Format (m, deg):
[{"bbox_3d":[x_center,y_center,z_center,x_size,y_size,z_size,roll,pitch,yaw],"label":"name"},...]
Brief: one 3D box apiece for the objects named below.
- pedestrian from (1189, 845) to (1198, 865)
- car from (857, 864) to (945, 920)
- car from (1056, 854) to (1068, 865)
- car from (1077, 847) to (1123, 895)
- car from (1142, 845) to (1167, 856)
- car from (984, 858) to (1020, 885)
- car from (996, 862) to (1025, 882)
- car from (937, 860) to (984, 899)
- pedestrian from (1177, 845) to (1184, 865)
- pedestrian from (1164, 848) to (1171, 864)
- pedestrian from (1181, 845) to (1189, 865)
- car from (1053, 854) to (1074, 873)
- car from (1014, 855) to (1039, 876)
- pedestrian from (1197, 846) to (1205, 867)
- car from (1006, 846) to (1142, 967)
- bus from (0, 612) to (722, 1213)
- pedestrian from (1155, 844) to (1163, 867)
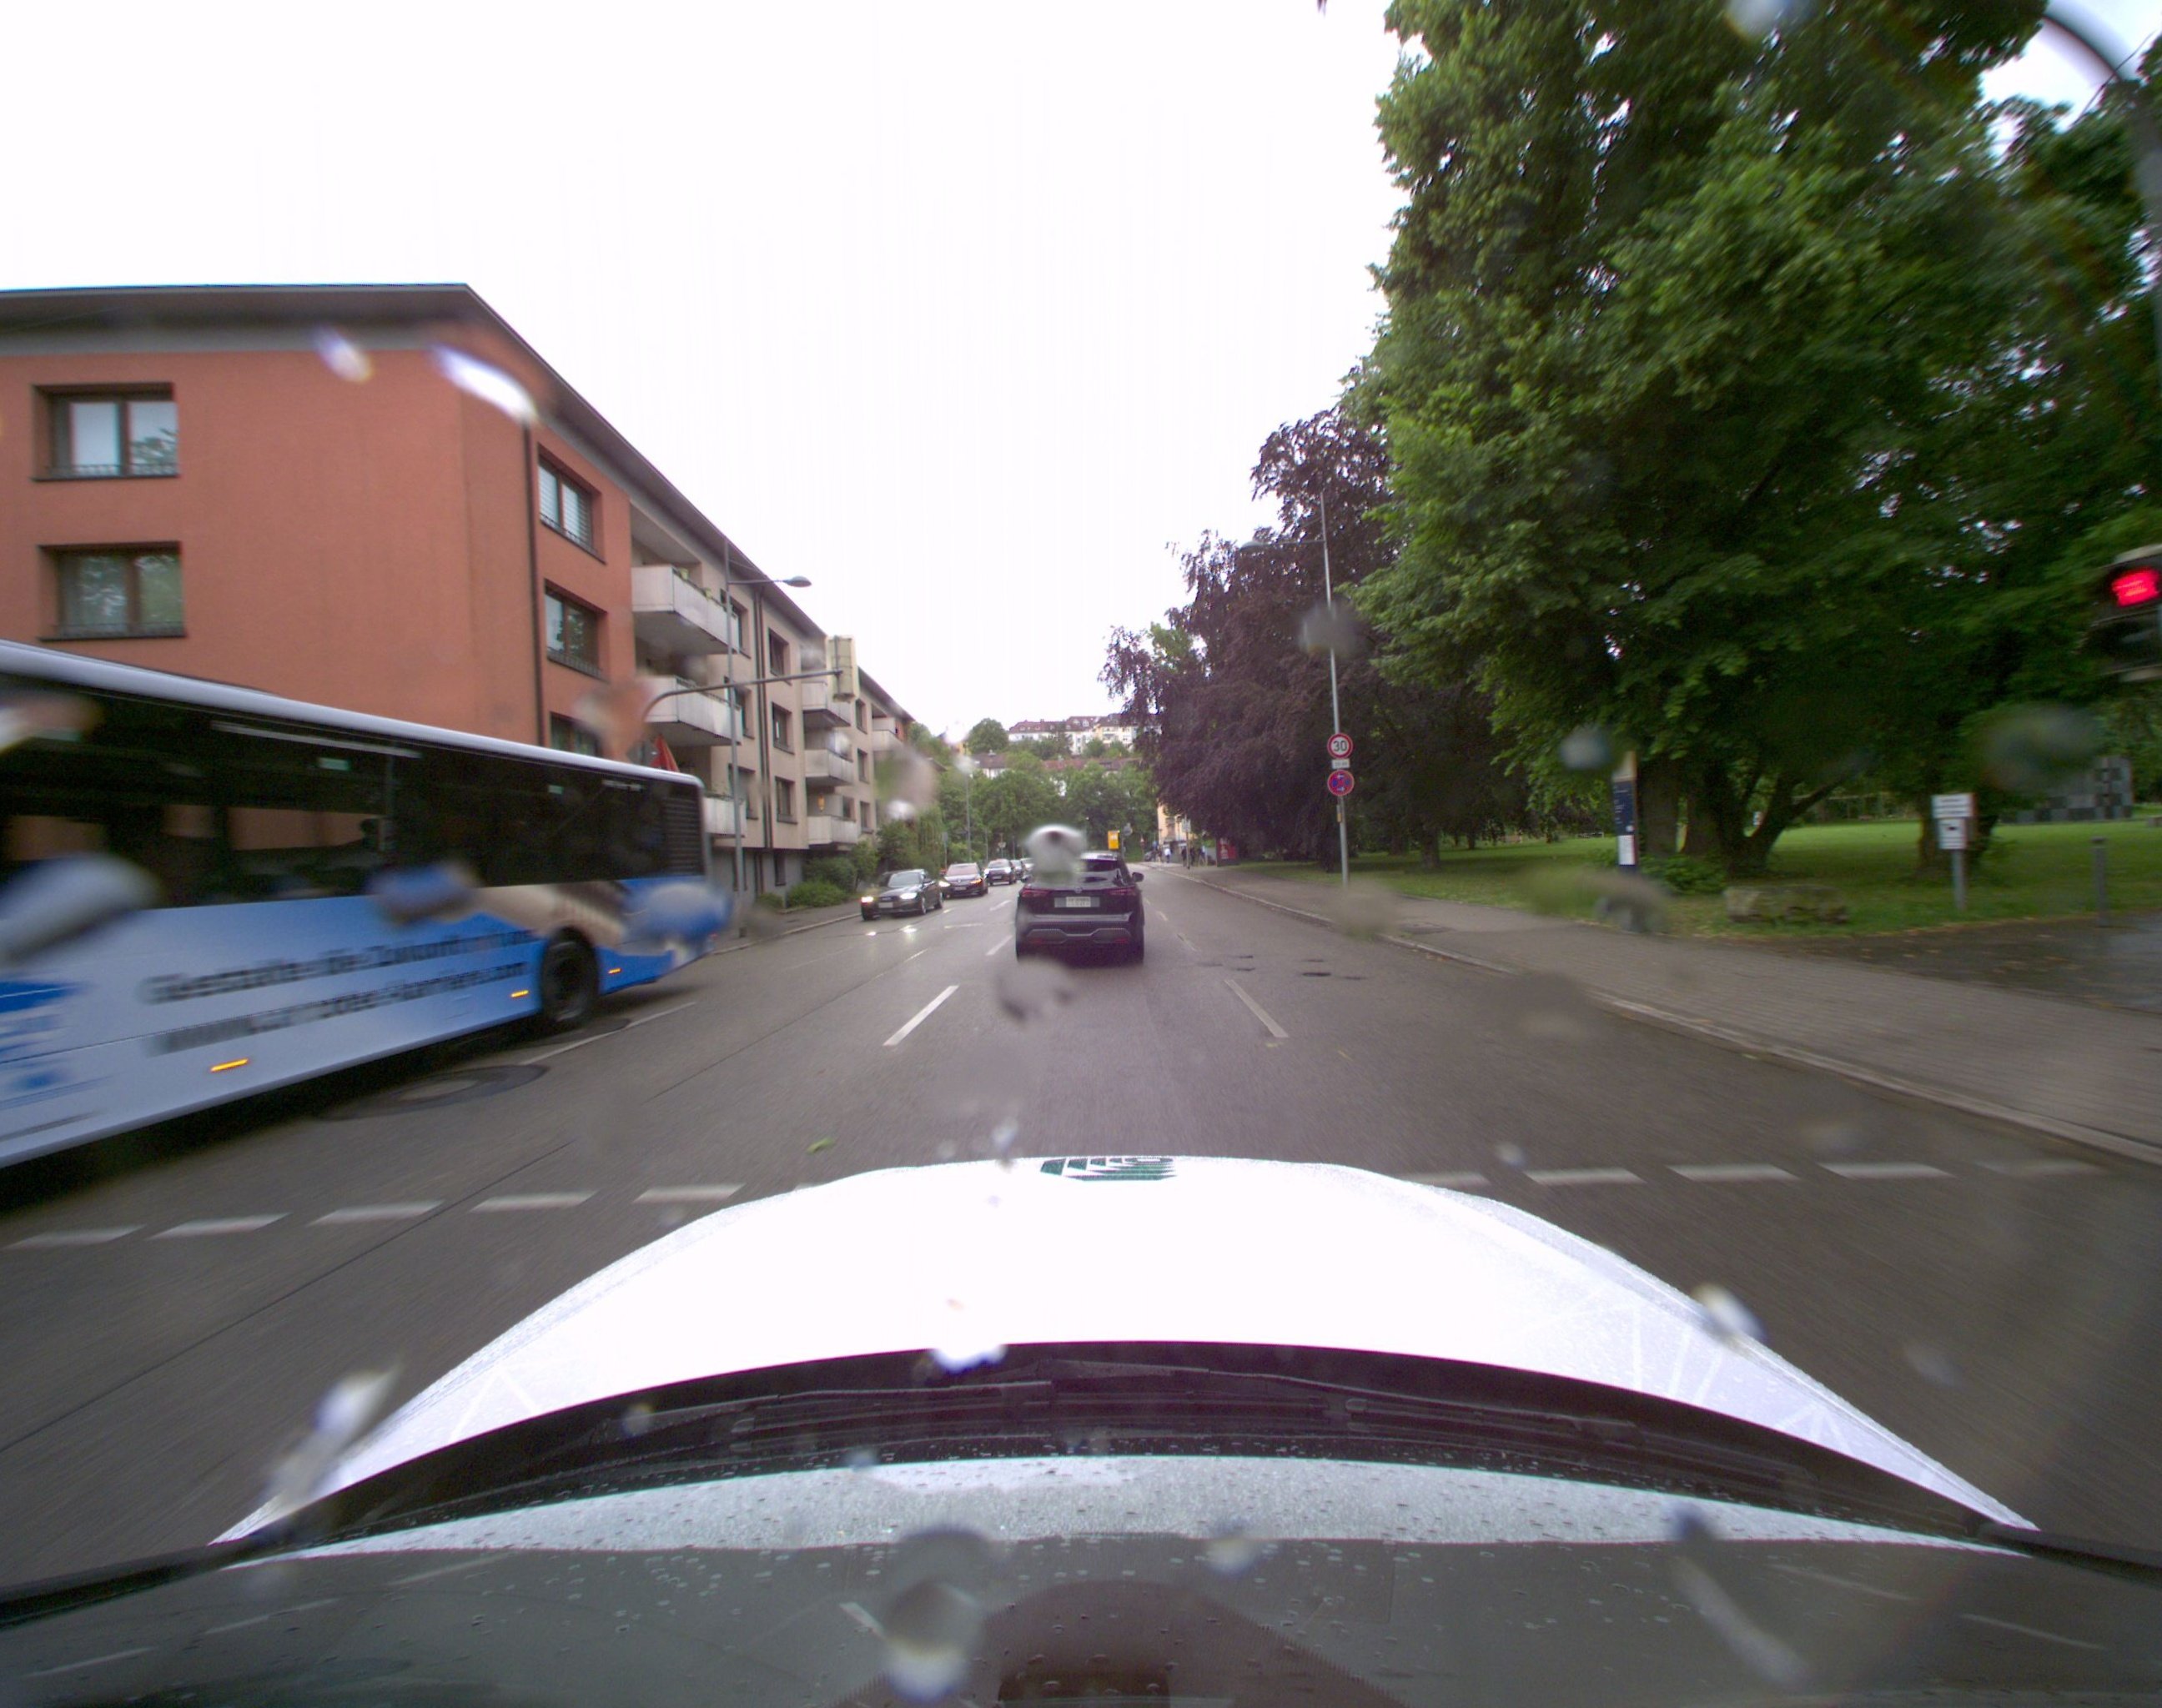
[{"bbox_3d":[9.493,0.113,68.634,0.695,1.651,0.630,-1,-1,10],"label":"pedestrian"},{"bbox_3d":[-5.673,1.156,26.137,1.770,1.469,4.216,-5,0,0],"label":"car"},{"bbox_3d":[-2.858,0.844,122.966,1.713,1.468,3.684,-4,0,-1],"label":"car"},{"bbox_3d":[0.823,0.649,32.638,1.615,1.709,3.773,-4,0,3],"label":"car"},{"bbox_3d":[13.007,-0.591,144.589,3.987,1.684,1.994,-4,0,-9],"label":"car"},{"bbox_3d":[-4.778,1.019,49.571,1.671,1.469,4.216,-5,0,0],"label":"car"},{"bbox_3d":[-5.154,1.280,59.606,1.671,1.296,3.751,-5,0,0],"label":"car"},{"bbox_3d":[-5.294,1.082,36.261,1.745,1.469,4.208,-5,0,-6],"label":"car"},{"bbox_3d":[8.300,0.119,67.832,0.472,1.651,0.491,-1,-1,10],"label":"pedestrian"},{"bbox_3d":[9.390,0.212,88.387,0.616,1.779,0.778,-4,0,1],"label":"pedestrian"},{"bbox_3d":[8.727,0.119,68.304,0.541,1.651,0.491,-1,-1,10],"label":"pedestrian"},{"bbox_3d":[-1.662,0.898,79.431,1.757,1.758,3.636,-4,0,2],"label":"car"},{"bbox_3d":[-4.672,0.939,70.364,1.744,1.633,3.636,-4,0,2],"label":"car"},{"bbox_3d":[9.920,0.201,67.289,0.513,1.655,0.550,-1,-1,1],"label":"pedestrian"},{"bbox_3d":[-0.053,0.724,12.880,1.800,1.590,4.001,-1,-1,1],"label":"car"},{"bbox_3d":[-6.697,0.359,5.718,2.756,2.974,11.783,-3,-1,1],"label":"bus"},{"bbox_3d":[7.616,0.175,79.314,0.765,2.184,0.712,-1,-1,4],"label":"pedestrian"}]
